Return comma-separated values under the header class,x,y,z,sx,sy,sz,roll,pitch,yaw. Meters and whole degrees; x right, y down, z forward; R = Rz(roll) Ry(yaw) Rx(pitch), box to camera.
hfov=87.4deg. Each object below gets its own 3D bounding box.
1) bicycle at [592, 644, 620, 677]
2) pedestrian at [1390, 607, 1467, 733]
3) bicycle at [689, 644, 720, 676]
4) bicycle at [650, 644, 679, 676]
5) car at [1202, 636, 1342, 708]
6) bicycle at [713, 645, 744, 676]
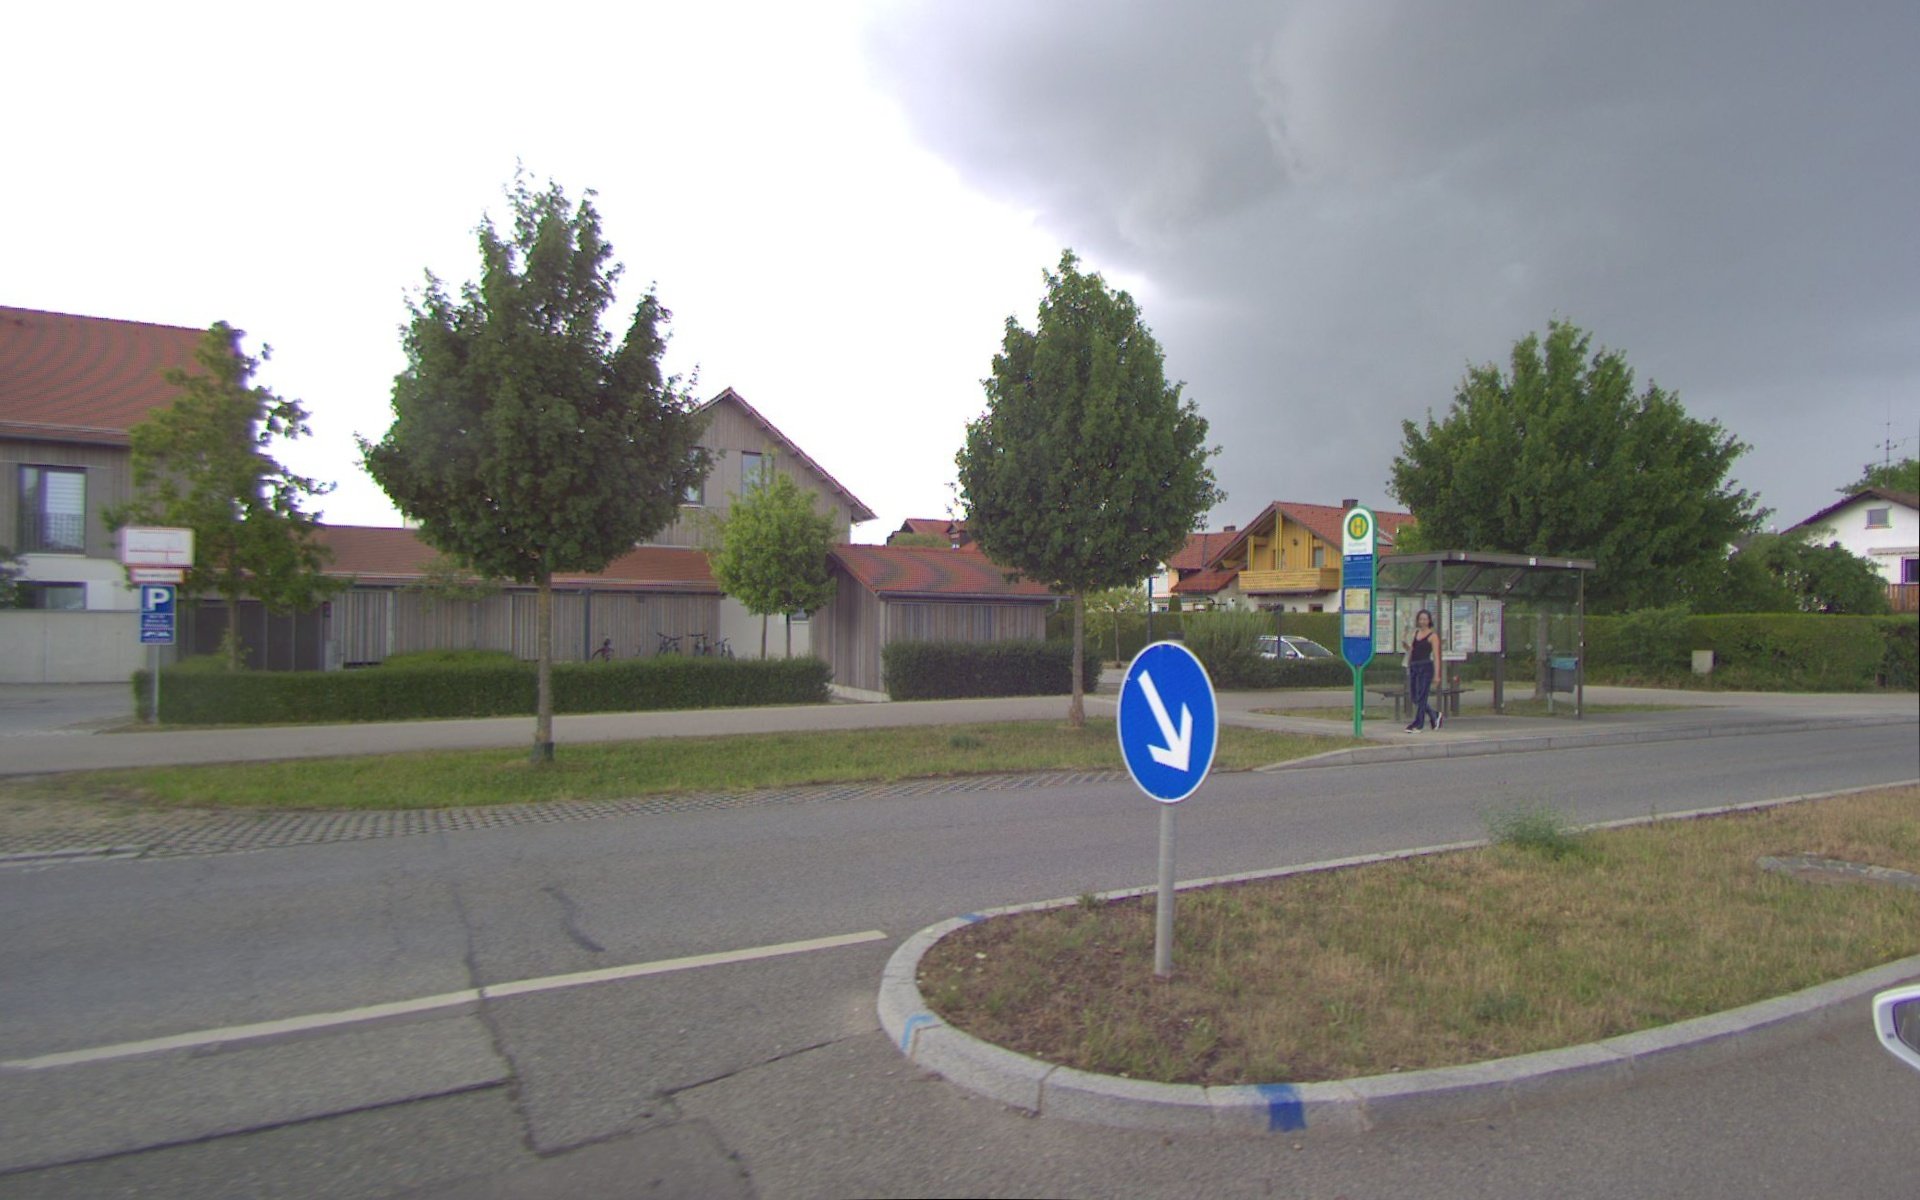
class,x,y,z,sx,sy,sz,roll,pitch,yaw
bicycle,-10.841,1.826,30.738,0.414,0.921,1.932,1,-1,-30
pedestrian,6.401,0.939,13.720,0.803,1.658,0.585,1,-1,-30
bicycle,-8.239,1.921,32.347,0.414,0.921,1.932,1,-1,-30
bicycle,-9.338,1.890,31.698,0.414,0.921,1.932,1,-1,-30
car,9.914,2.241,32.164,1.977,2.040,3.967,2,-1,-31
bicycle,-7.558,1.950,32.725,0.414,0.921,1.932,1,-1,-30
